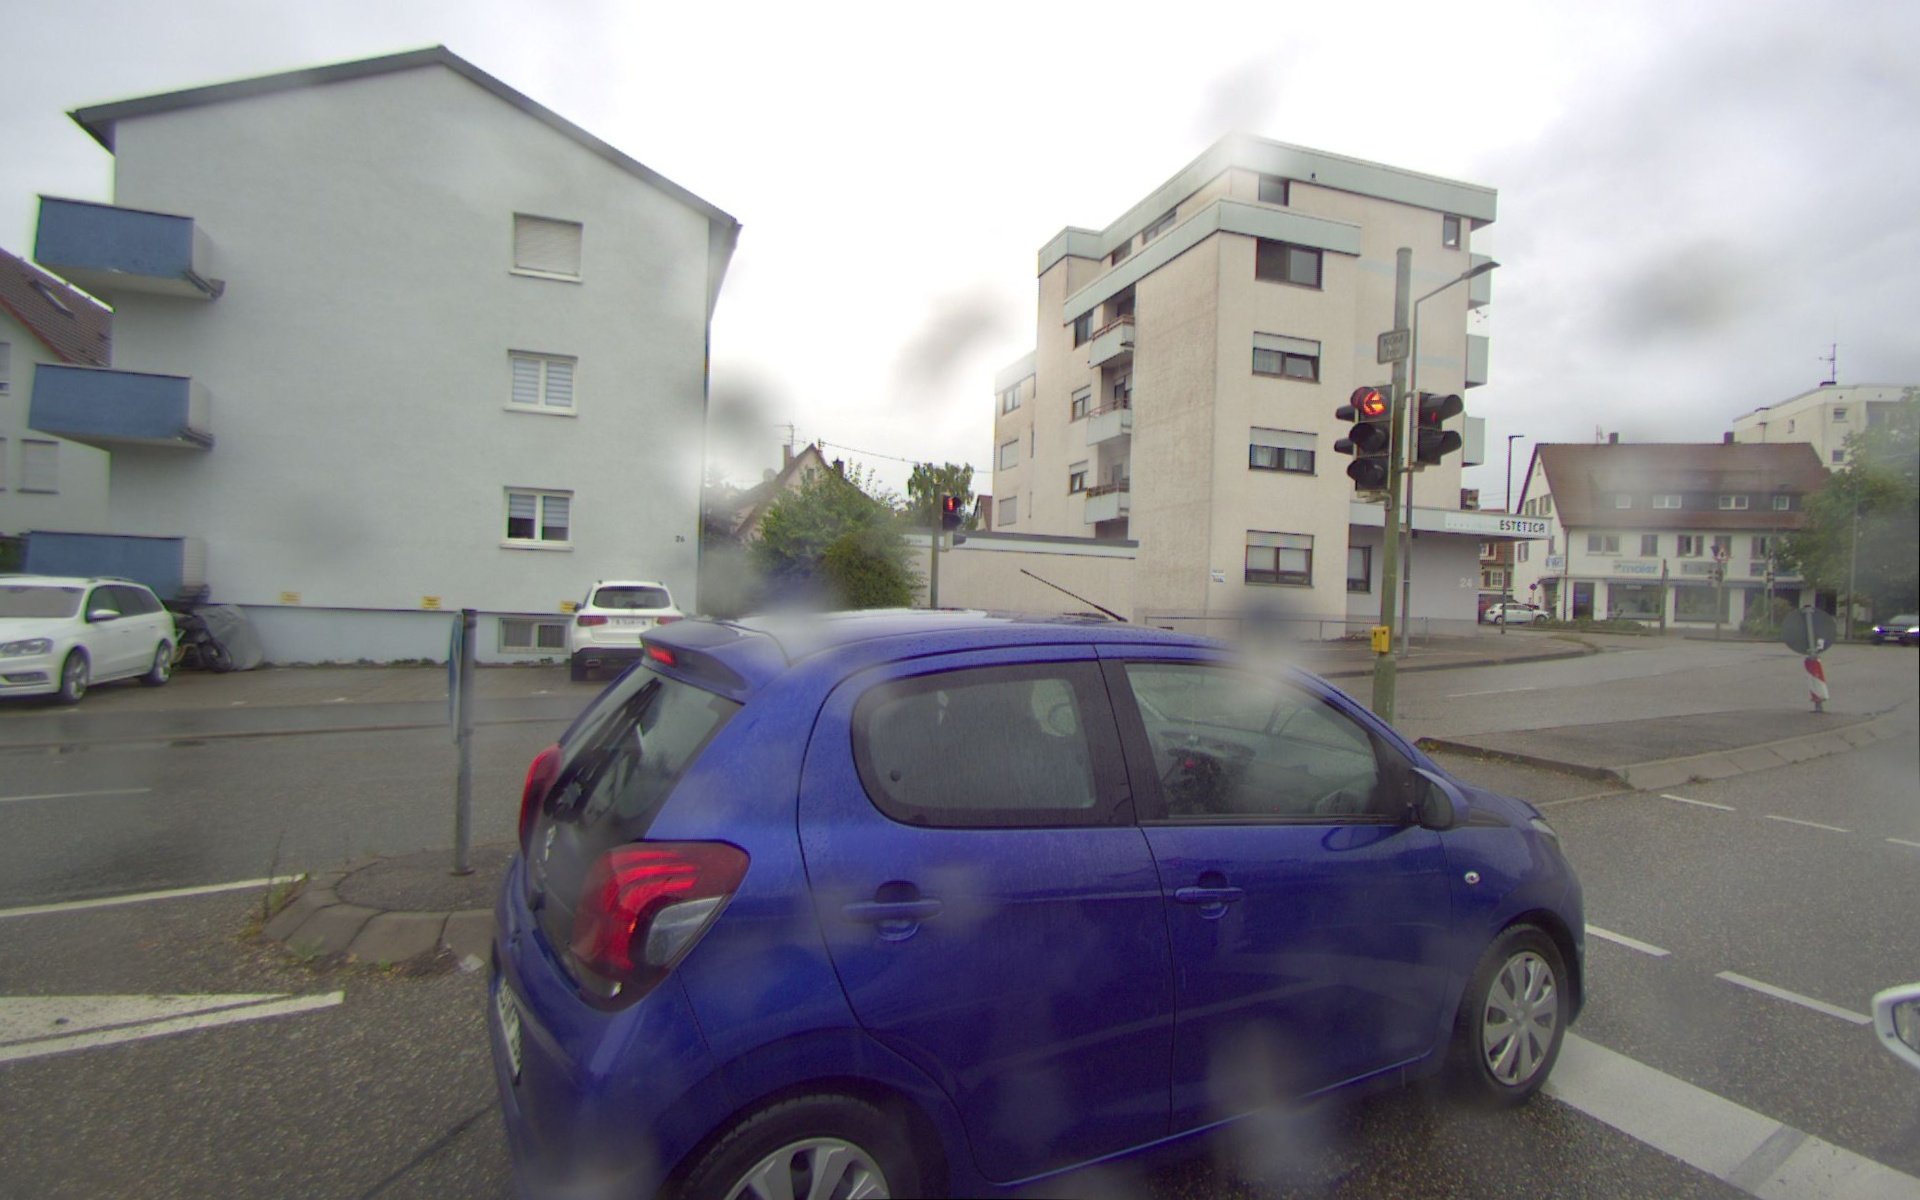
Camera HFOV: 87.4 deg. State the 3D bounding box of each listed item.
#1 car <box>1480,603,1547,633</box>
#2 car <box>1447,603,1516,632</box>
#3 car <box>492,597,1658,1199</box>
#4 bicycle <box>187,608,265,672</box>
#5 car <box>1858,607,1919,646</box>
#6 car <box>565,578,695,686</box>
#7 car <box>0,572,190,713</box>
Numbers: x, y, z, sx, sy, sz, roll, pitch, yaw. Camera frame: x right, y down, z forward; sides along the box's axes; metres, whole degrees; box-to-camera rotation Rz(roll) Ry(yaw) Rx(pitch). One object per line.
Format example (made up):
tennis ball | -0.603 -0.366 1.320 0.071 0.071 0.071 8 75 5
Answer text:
car | 37.910 1.238 68.882 3.611 1.946 1.889 2 0 14
car | 37.203 1.243 71.712 3.987 1.868 1.889 2 0 14
car | 0.460 0.740 3.085 3.324 1.432 1.498 1 1 -30
bicycle | -12.703 0.684 17.405 1.053 1.067 0.345 0 1 -30
car | 42.453 1.217 45.101 4.488 1.646 1.983 2 0 -32
car | -5.772 0.506 17.560 1.884 1.637 3.982 2 0 -19
car | -11.490 0.451 12.490 1.854 1.480 4.732 1 -1 -23
